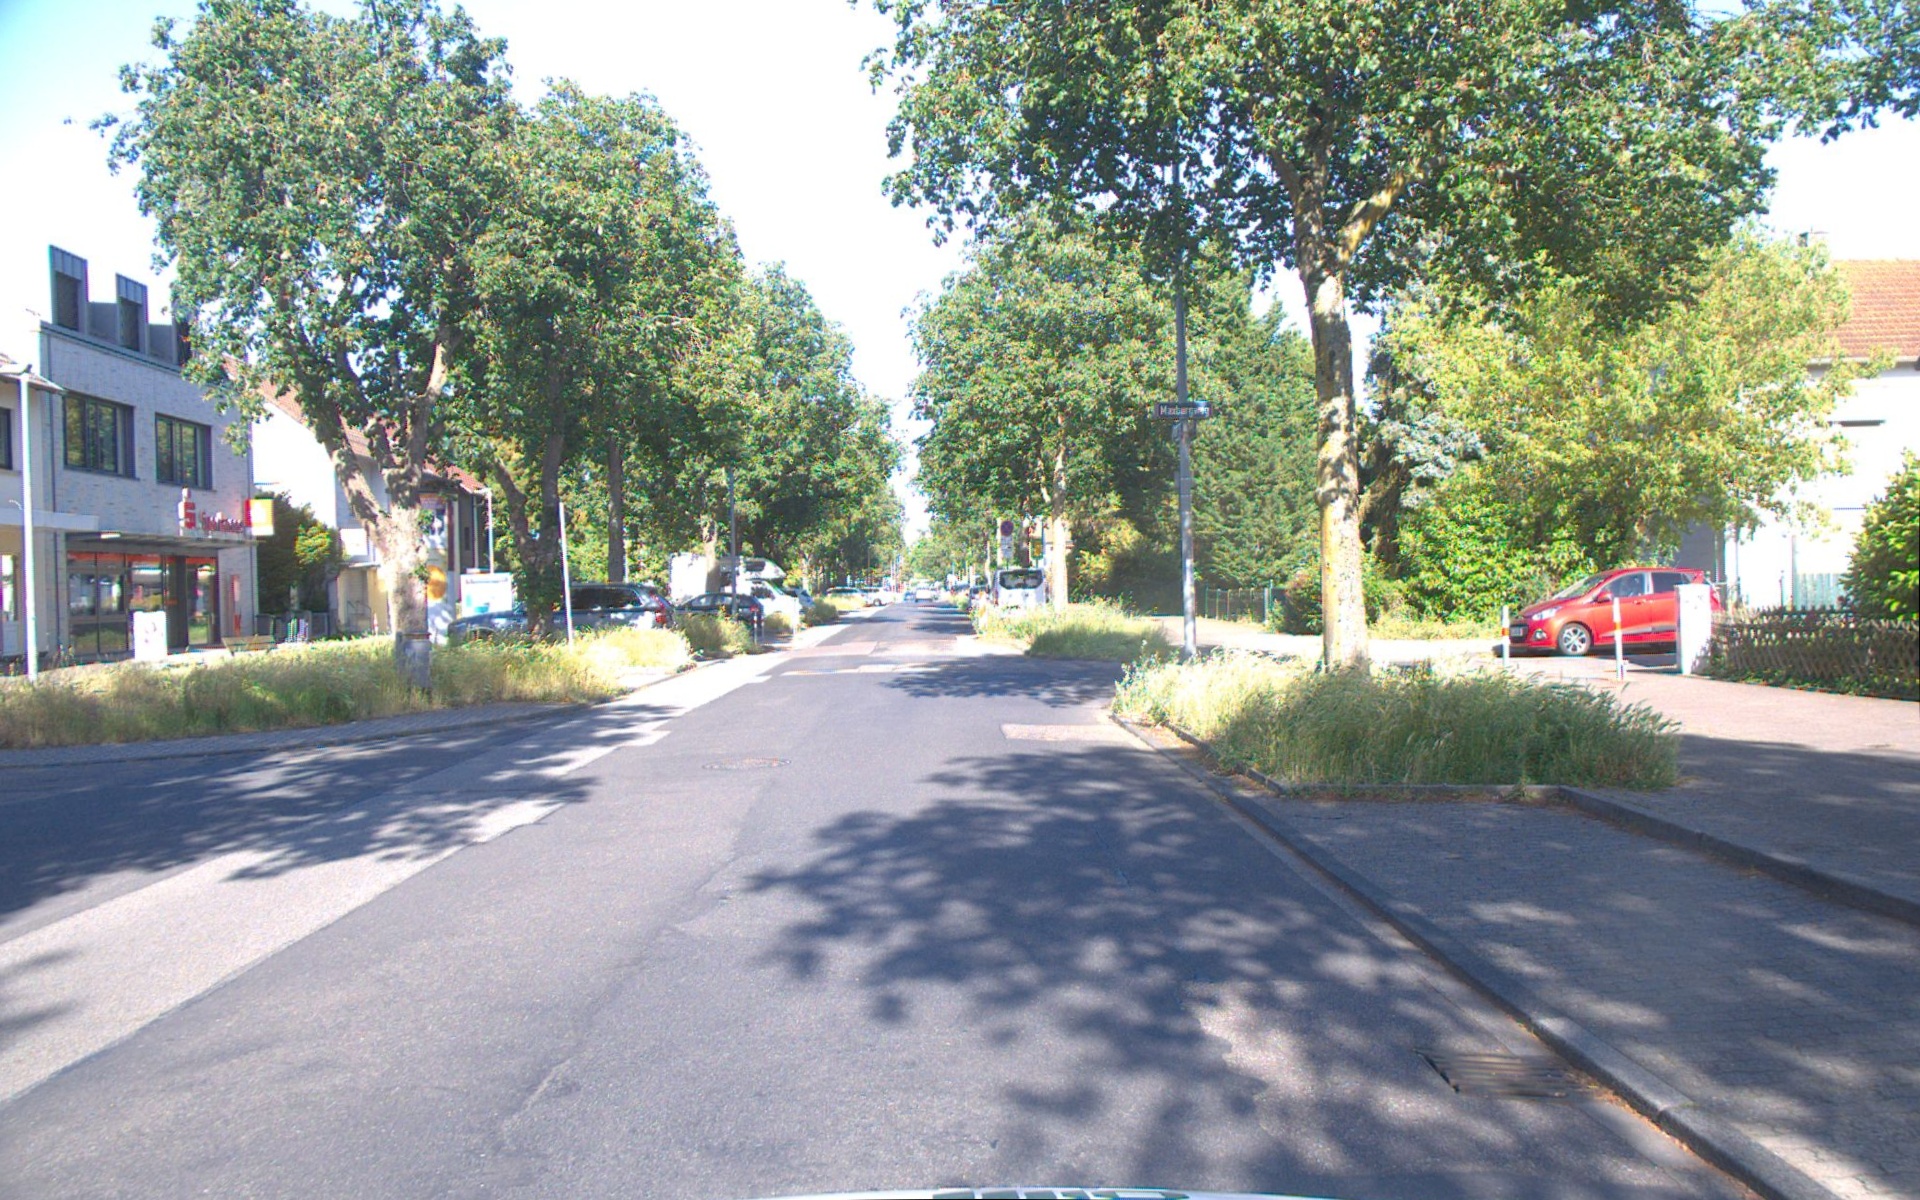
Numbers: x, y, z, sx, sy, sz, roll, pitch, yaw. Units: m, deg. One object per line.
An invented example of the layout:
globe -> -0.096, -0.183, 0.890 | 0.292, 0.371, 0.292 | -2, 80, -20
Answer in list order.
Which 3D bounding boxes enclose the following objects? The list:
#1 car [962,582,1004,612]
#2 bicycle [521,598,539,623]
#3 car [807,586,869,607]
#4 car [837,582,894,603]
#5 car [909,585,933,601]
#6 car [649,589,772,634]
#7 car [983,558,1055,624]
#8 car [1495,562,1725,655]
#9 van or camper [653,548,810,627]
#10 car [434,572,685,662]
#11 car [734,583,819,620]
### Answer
car -> 1.313, -0.152, 92.511 | 1.951, 1.536, 4.002 | -2, -1, 6
bicycle -> -22.097, 0.549, 84.897 | 0.693, 1.197, 4.037 | -2, 1, -17
car -> -9.337, -0.278, 126.622 | 4.576, 1.529, 2.000 | -1, 0, 0
car -> -7.342, -0.585, 128.616 | 4.121, 1.480, 2.002 | -1, 0, 7
car -> -3.766, -0.657, 159.239 | 1.956, 1.534, 3.652 | 2, 0, -8
car -> -8.537, 0.387, 56.813 | 3.904, 1.475, 1.640 | 1, 0, 2
car -> 1.904, -0.276, 55.083 | 1.954, 2.049, 5.193 | 2, 0, -3
car -> 11.569, 0.131, 29.534 | 3.471, 1.537, 1.638 | -1, 1, -5
van or camper -> -8.752, -0.469, 63.627 | 5.657, 2.854, 2.000 | 2, 0, 0
car -> -8.562, 0.360, 35.714 | 4.963, 1.758, 1.998 | 2, 0, -5
car -> -8.891, 0.052, 80.359 | 3.907, 1.690, 1.966 | -1, 1, -3
